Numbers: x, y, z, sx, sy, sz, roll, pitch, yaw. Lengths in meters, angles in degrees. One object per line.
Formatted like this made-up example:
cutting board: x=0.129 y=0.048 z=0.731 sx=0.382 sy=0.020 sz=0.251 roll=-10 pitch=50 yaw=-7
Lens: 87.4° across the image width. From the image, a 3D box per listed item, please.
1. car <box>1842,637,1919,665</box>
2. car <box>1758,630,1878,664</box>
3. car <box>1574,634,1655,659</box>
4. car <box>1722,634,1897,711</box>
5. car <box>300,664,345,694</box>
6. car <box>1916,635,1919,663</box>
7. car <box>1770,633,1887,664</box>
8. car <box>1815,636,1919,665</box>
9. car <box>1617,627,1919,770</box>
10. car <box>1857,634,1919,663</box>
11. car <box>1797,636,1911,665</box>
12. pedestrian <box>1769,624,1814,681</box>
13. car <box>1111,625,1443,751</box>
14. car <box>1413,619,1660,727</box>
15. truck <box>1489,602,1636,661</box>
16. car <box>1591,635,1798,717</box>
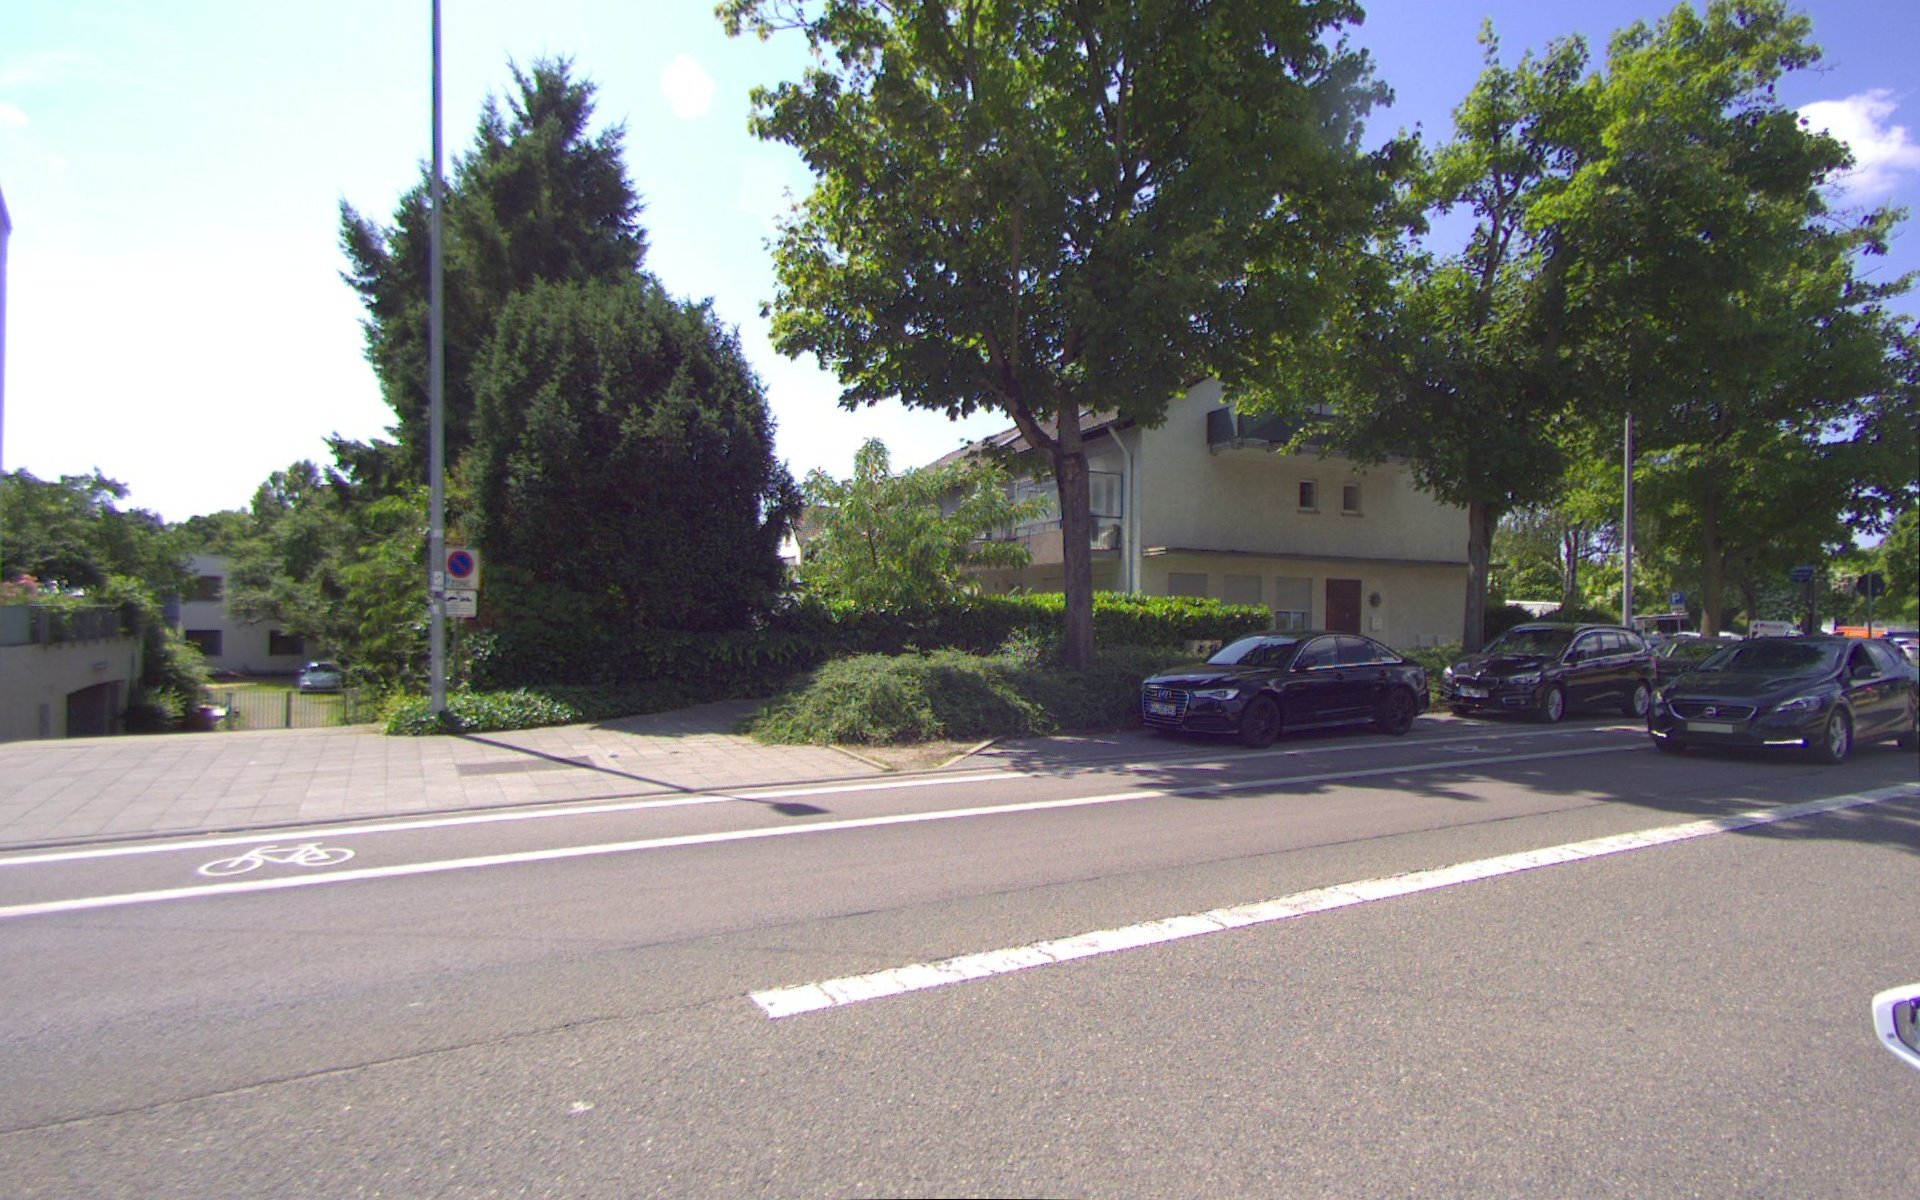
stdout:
car: x=49.581 y=2.688 z=53.181 sx=1.784 sy=1.357 sz=3.968 roll=1 pitch=-1 yaw=-30
car: x=40.336 y=2.163 z=47.294 sx=1.784 sy=1.461 sz=3.968 roll=1 pitch=-1 yaw=-30
car: x=41.222 y=2.905 z=63.332 sx=1.784 sy=1.461 sz=3.968 roll=1 pitch=-1 yaw=-30
car: x=19.291 y=1.585 z=22.786 sx=4.000 sy=1.500 sz=1.766 roll=1 pitch=1 yaw=-30
car: x=-31.879 y=3.929 z=50.295 sx=1.825 sy=1.371 sz=3.967 roll=1 pitch=-4 yaw=-32
car: x=57.939 y=2.856 z=57.749 sx=1.784 sy=1.628 sz=3.968 roll=1 pitch=-1 yaw=-30
car: x=42.189 y=2.325 z=48.876 sx=1.784 sy=1.357 sz=3.968 roll=1 pitch=-1 yaw=-30
car: x=47.248 y=2.590 z=52.174 sx=1.784 sy=1.357 sz=3.968 roll=1 pitch=-1 yaw=-30
car: x=10.027 y=1.094 z=12.268 sx=4.148 sy=1.479 sz=1.766 roll=1 pitch=-2 yaw=-32
car: x=51.269 y=2.627 z=54.202 sx=1.784 sy=1.461 sz=3.968 roll=1 pitch=-1 yaw=-30
car: x=45.075 y=2.521 z=50.719 sx=1.784 sy=1.357 sz=3.968 roll=1 pitch=-1 yaw=-30
pedestrian: x=27.481 y=1.728 z=33.194 sx=0.786 sy=1.847 sz=0.969 roll=1 pitch=-1 yaw=-32
car: x=4.509 y=1.121 z=14.035 sx=4.750 sy=1.475 sz=1.765 roll=1 pitch=-1 yaw=-32
car: x=10.132 y=1.198 z=17.558 sx=4.585 sy=1.625 sz=1.765 roll=1 pitch=0 yaw=-32
truck: x=35.181 y=1.806 z=58.936 sx=2.306 sy=3.270 sz=7.149 roll=1 pitch=-1 yaw=-31
car: x=15.004 y=1.471 z=20.445 sx=4.644 sy=1.391 sz=1.765 roll=1 pitch=1 yaw=-32
